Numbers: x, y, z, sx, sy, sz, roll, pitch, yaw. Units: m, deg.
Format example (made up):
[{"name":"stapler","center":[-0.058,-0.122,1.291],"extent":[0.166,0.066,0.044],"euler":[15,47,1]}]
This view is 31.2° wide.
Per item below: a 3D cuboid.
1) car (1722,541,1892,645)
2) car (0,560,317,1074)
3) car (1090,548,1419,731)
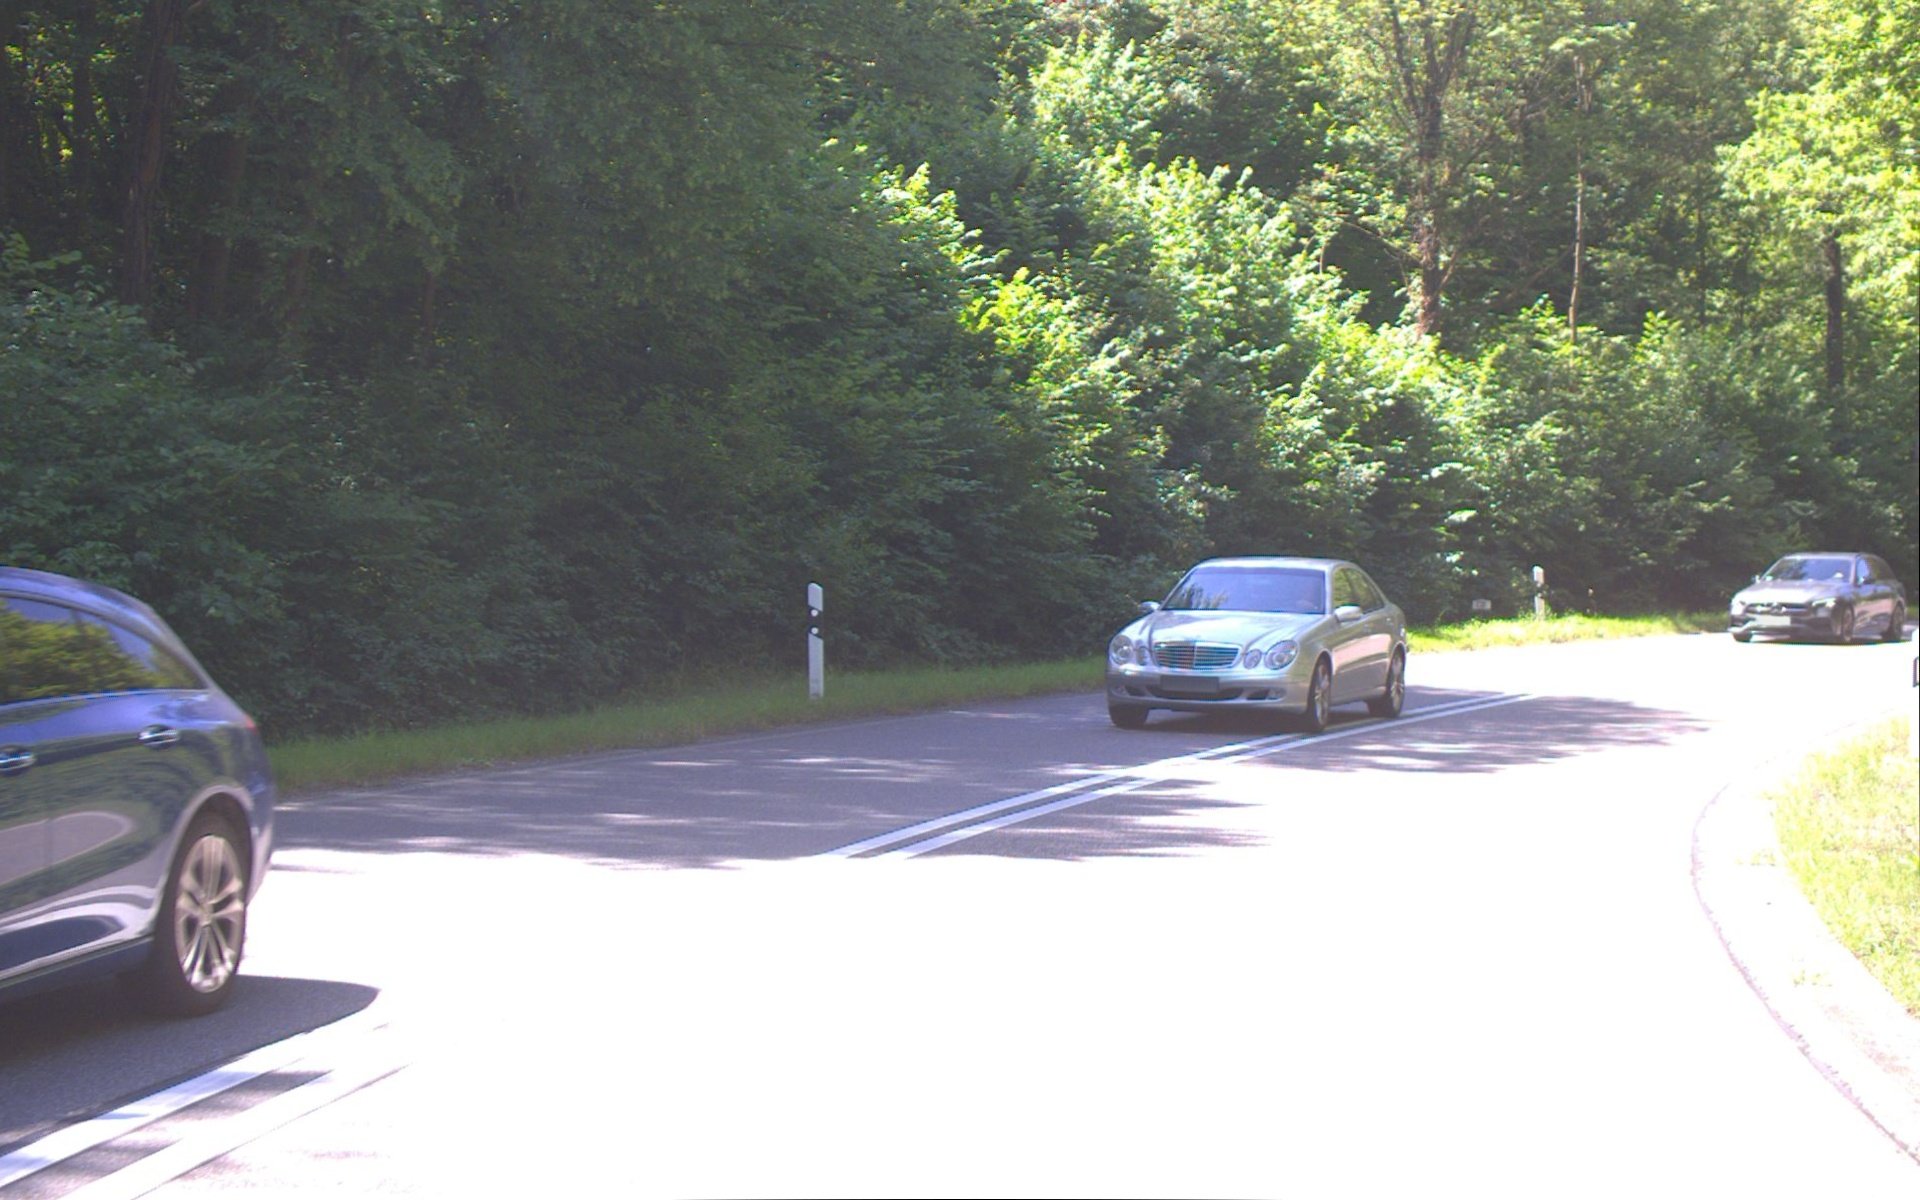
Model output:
[{"name":"car","center":[13.646,-0.126,55.236],"extent":[1.759,1.568,4.361],"euler":[1,1,26]},{"name":"car","center":[-3.481,0.596,9.601],"extent":[1.789,1.401,4.359],"euler":[0,0,12]},{"name":"car","center":[2.699,0.319,30.400],"extent":[1.847,1.481,4.760],"euler":[0,0,18]}]
